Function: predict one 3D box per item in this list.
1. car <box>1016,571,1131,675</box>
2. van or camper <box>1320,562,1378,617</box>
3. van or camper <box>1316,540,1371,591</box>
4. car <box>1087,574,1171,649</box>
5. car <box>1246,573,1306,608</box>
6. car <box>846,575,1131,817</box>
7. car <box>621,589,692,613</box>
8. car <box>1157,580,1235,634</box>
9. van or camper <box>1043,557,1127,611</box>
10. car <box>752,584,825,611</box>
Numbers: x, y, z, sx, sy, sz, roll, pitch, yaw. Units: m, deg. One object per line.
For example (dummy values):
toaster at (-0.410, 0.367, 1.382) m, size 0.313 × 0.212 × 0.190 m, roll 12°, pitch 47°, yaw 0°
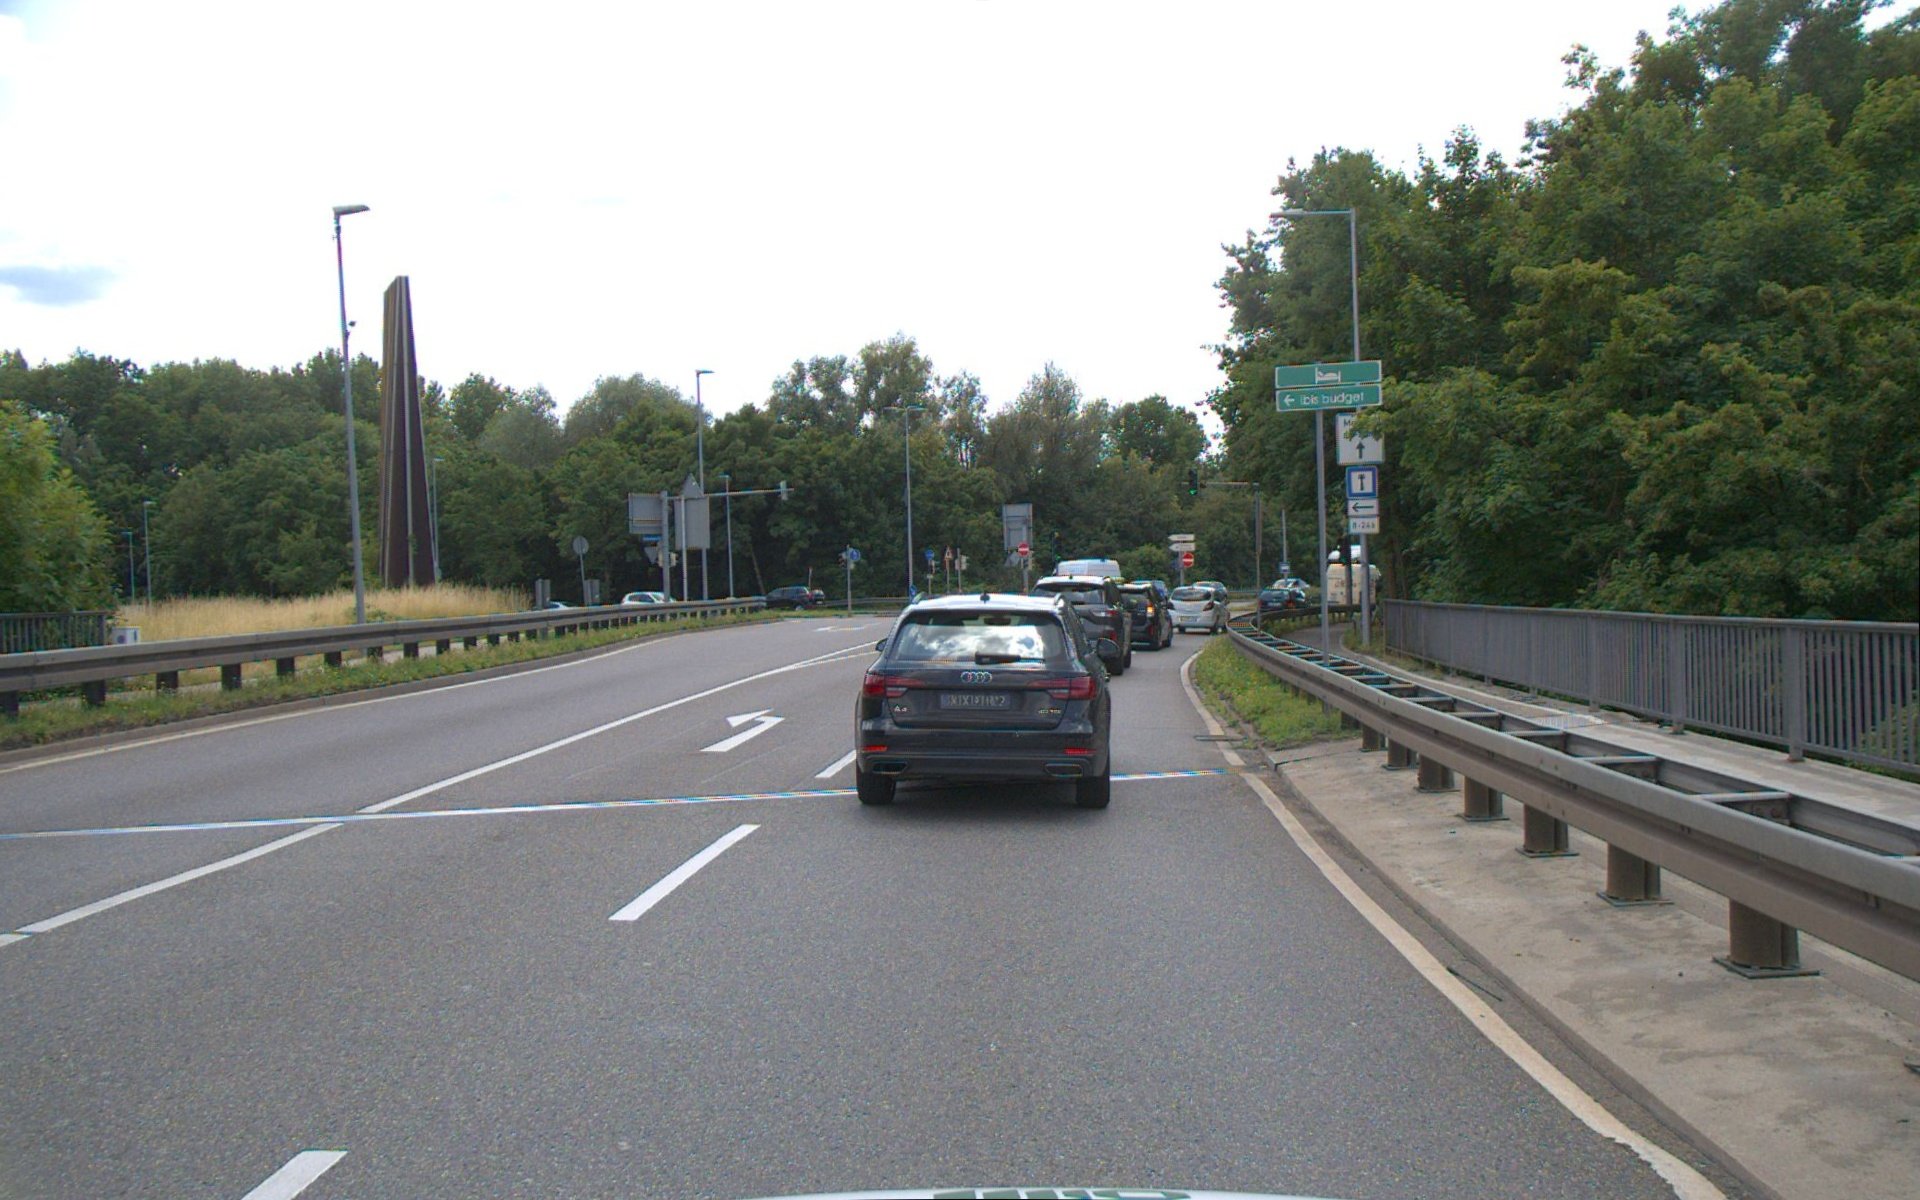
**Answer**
car at (2.054, 0.347, 28.993) m, size 1.782 × 1.680 × 3.859 m, roll 1°, pitch 1°, yaw 7°
van or camper at (19.273, -0.554, 81.788) m, size 1.954 × 2.635 × 4.087 m, roll 1°, pitch 1°, yaw 25°
van or camper at (29.291, -2.638, 126.024) m, size 2.845 × 3.678 × 8.131 m, roll 2°, pitch 2°, yaw 21°
car at (4.147, 0.238, 40.186) m, size 1.696 × 1.680 × 3.859 m, roll 1°, pitch 1°, yaw 10°
car at (13.068, -0.400, 68.253) m, size 1.649 × 1.422 × 3.677 m, roll 0°, pitch 0°, yaw 24°
car at (0.324, 0.618, 12.534) m, size 1.789 × 1.518 × 4.209 m, roll 0°, pitch 0°, yaw 4°
car at (-15.236, 0.045, 83.031) m, size 3.520 × 1.136 × 1.587 m, roll 1°, pitch 0°, yaw 38°
car at (7.626, 0.188, 53.105) m, size 1.698 × 1.680 × 3.856 m, roll 0°, pitch 1°, yaw 20°
van or camper at (5.736, -0.758, 76.569) m, size 2.235 × 2.381 × 5.220 m, roll 1°, pitch 1°, yaw -15°
car at (-9.580, -0.136, 92.595) m, size 3.720 × 1.395 × 1.673 m, roll 1°, pitch 2°, yaw 20°
